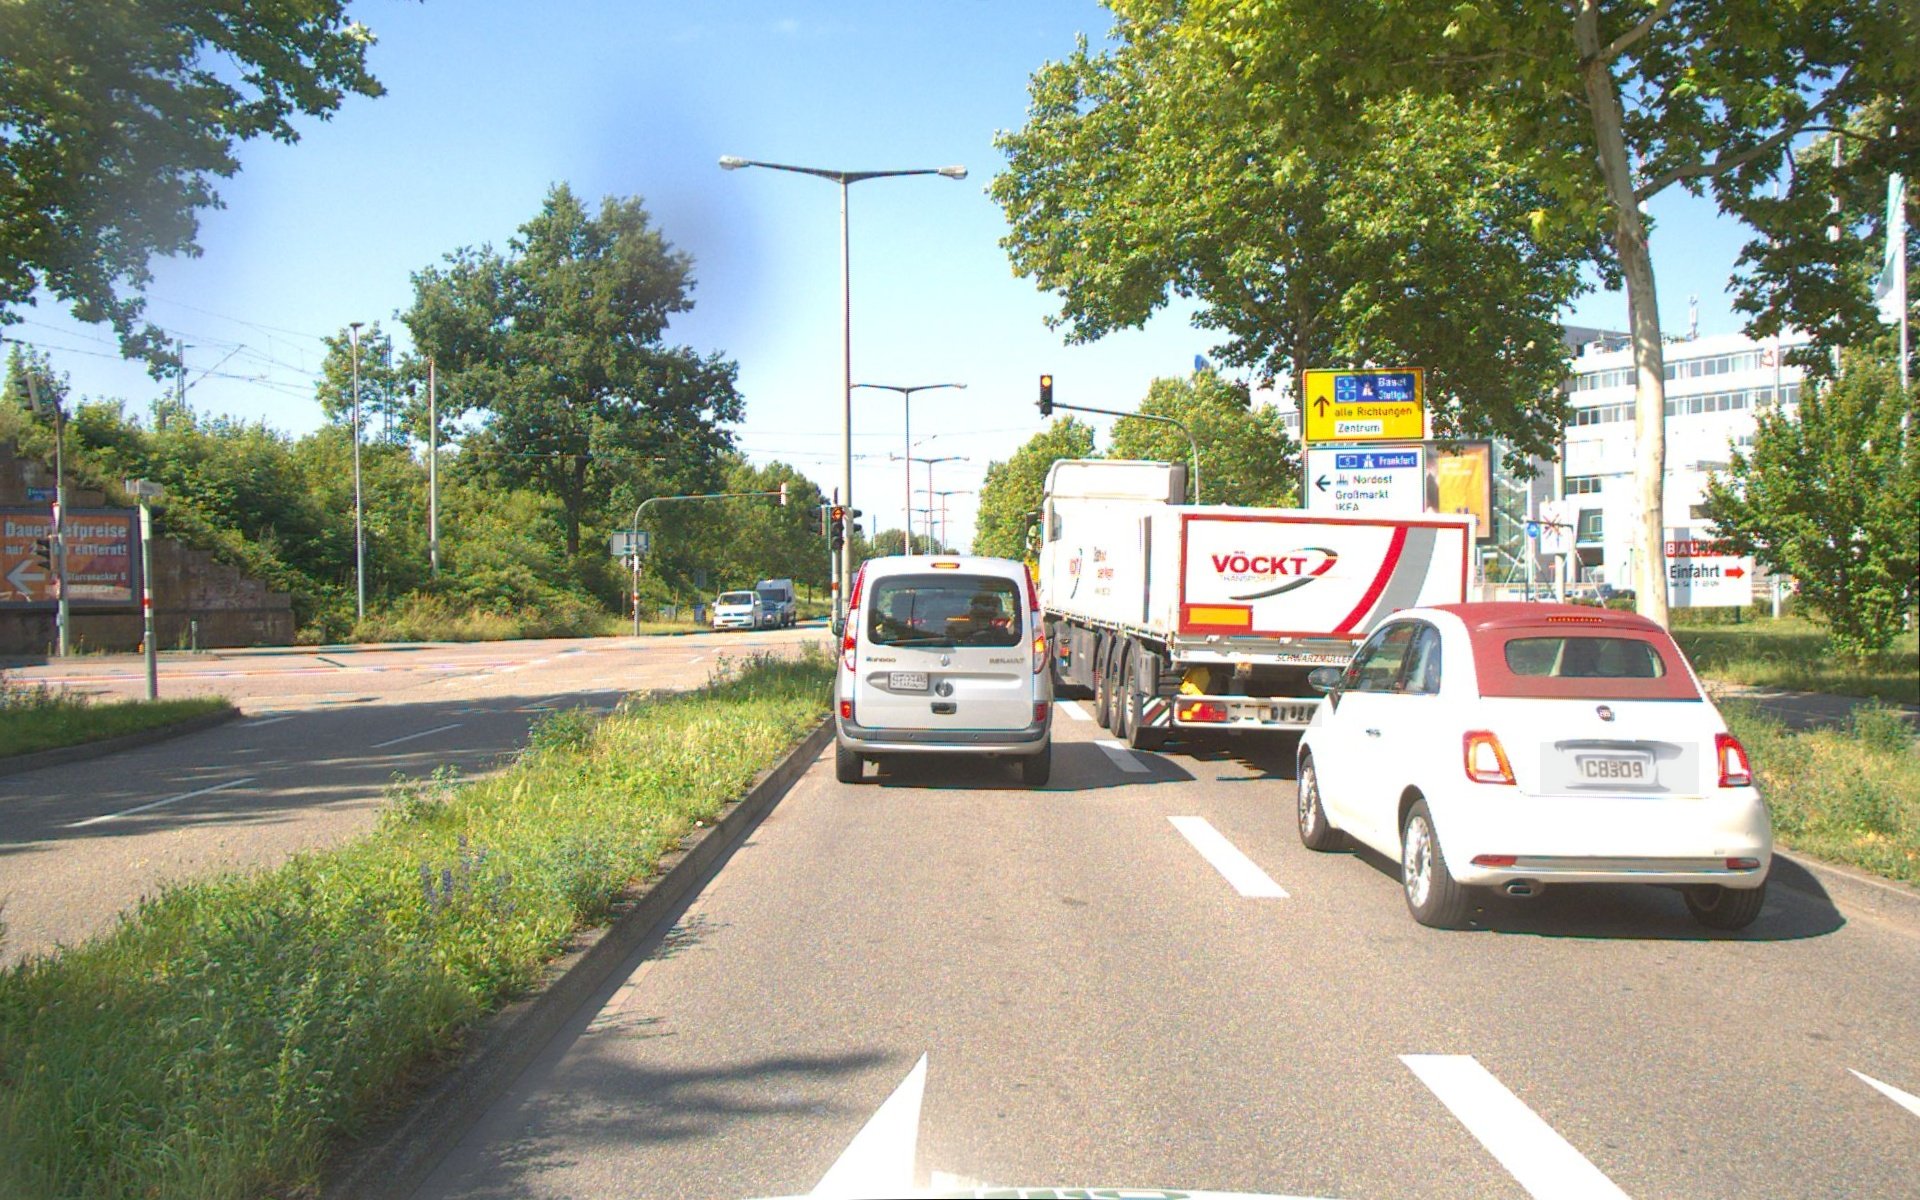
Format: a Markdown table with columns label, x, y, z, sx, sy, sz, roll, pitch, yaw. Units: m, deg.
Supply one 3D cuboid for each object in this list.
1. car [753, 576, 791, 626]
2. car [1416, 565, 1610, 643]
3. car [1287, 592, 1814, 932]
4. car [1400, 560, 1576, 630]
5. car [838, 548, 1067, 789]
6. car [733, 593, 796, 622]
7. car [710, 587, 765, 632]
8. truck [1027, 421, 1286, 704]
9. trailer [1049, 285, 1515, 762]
| label | x | y | z | sx | sy | sz | roll | pitch | yaw |
| --- | --- | --- | --- | --- | --- | --- | --- | --- | --- |
| car | -10.545 | 0.050 | 92.789 | 2.019 | 2.660 | 5.861 | 1 | 0 | -7 |
| car | 12.585 | 0.084 | 37.810 | 3.903 | 1.691 | 1.724 | 1 | 0 | 4 |
| car | 2.922 | 0.708 | 8.970 | 1.627 | 1.461 | 3.520 | 1 | 0 | 0 |
| car | 13.199 | -0.128 | 41.516 | 3.903 | 1.691 | 1.724 | 1 | 0 | 4 |
| car | -0.090 | 0.523 | 14.466 | 1.714 | 1.803 | 3.948 | 1 | 0 | -1 |
| car | -10.121 | 0.365 | 85.440 | 1.889 | 1.433 | 4.189 | 1 | 0 | -27 |
| car | -10.375 | 0.435 | 77.379 | 1.953 | 1.924 | 4.986 | -2 | 0 | -2 |
| truck | 2.829 | -0.499 | 26.247 | 3.009 | 3.823 | 7.473 | 1 | 0 | -2 |
| trailer | 2.926 | -0.605 | 19.420 | 2.954 | 3.806 | 12.238 | 1 | 0 | -1 |
